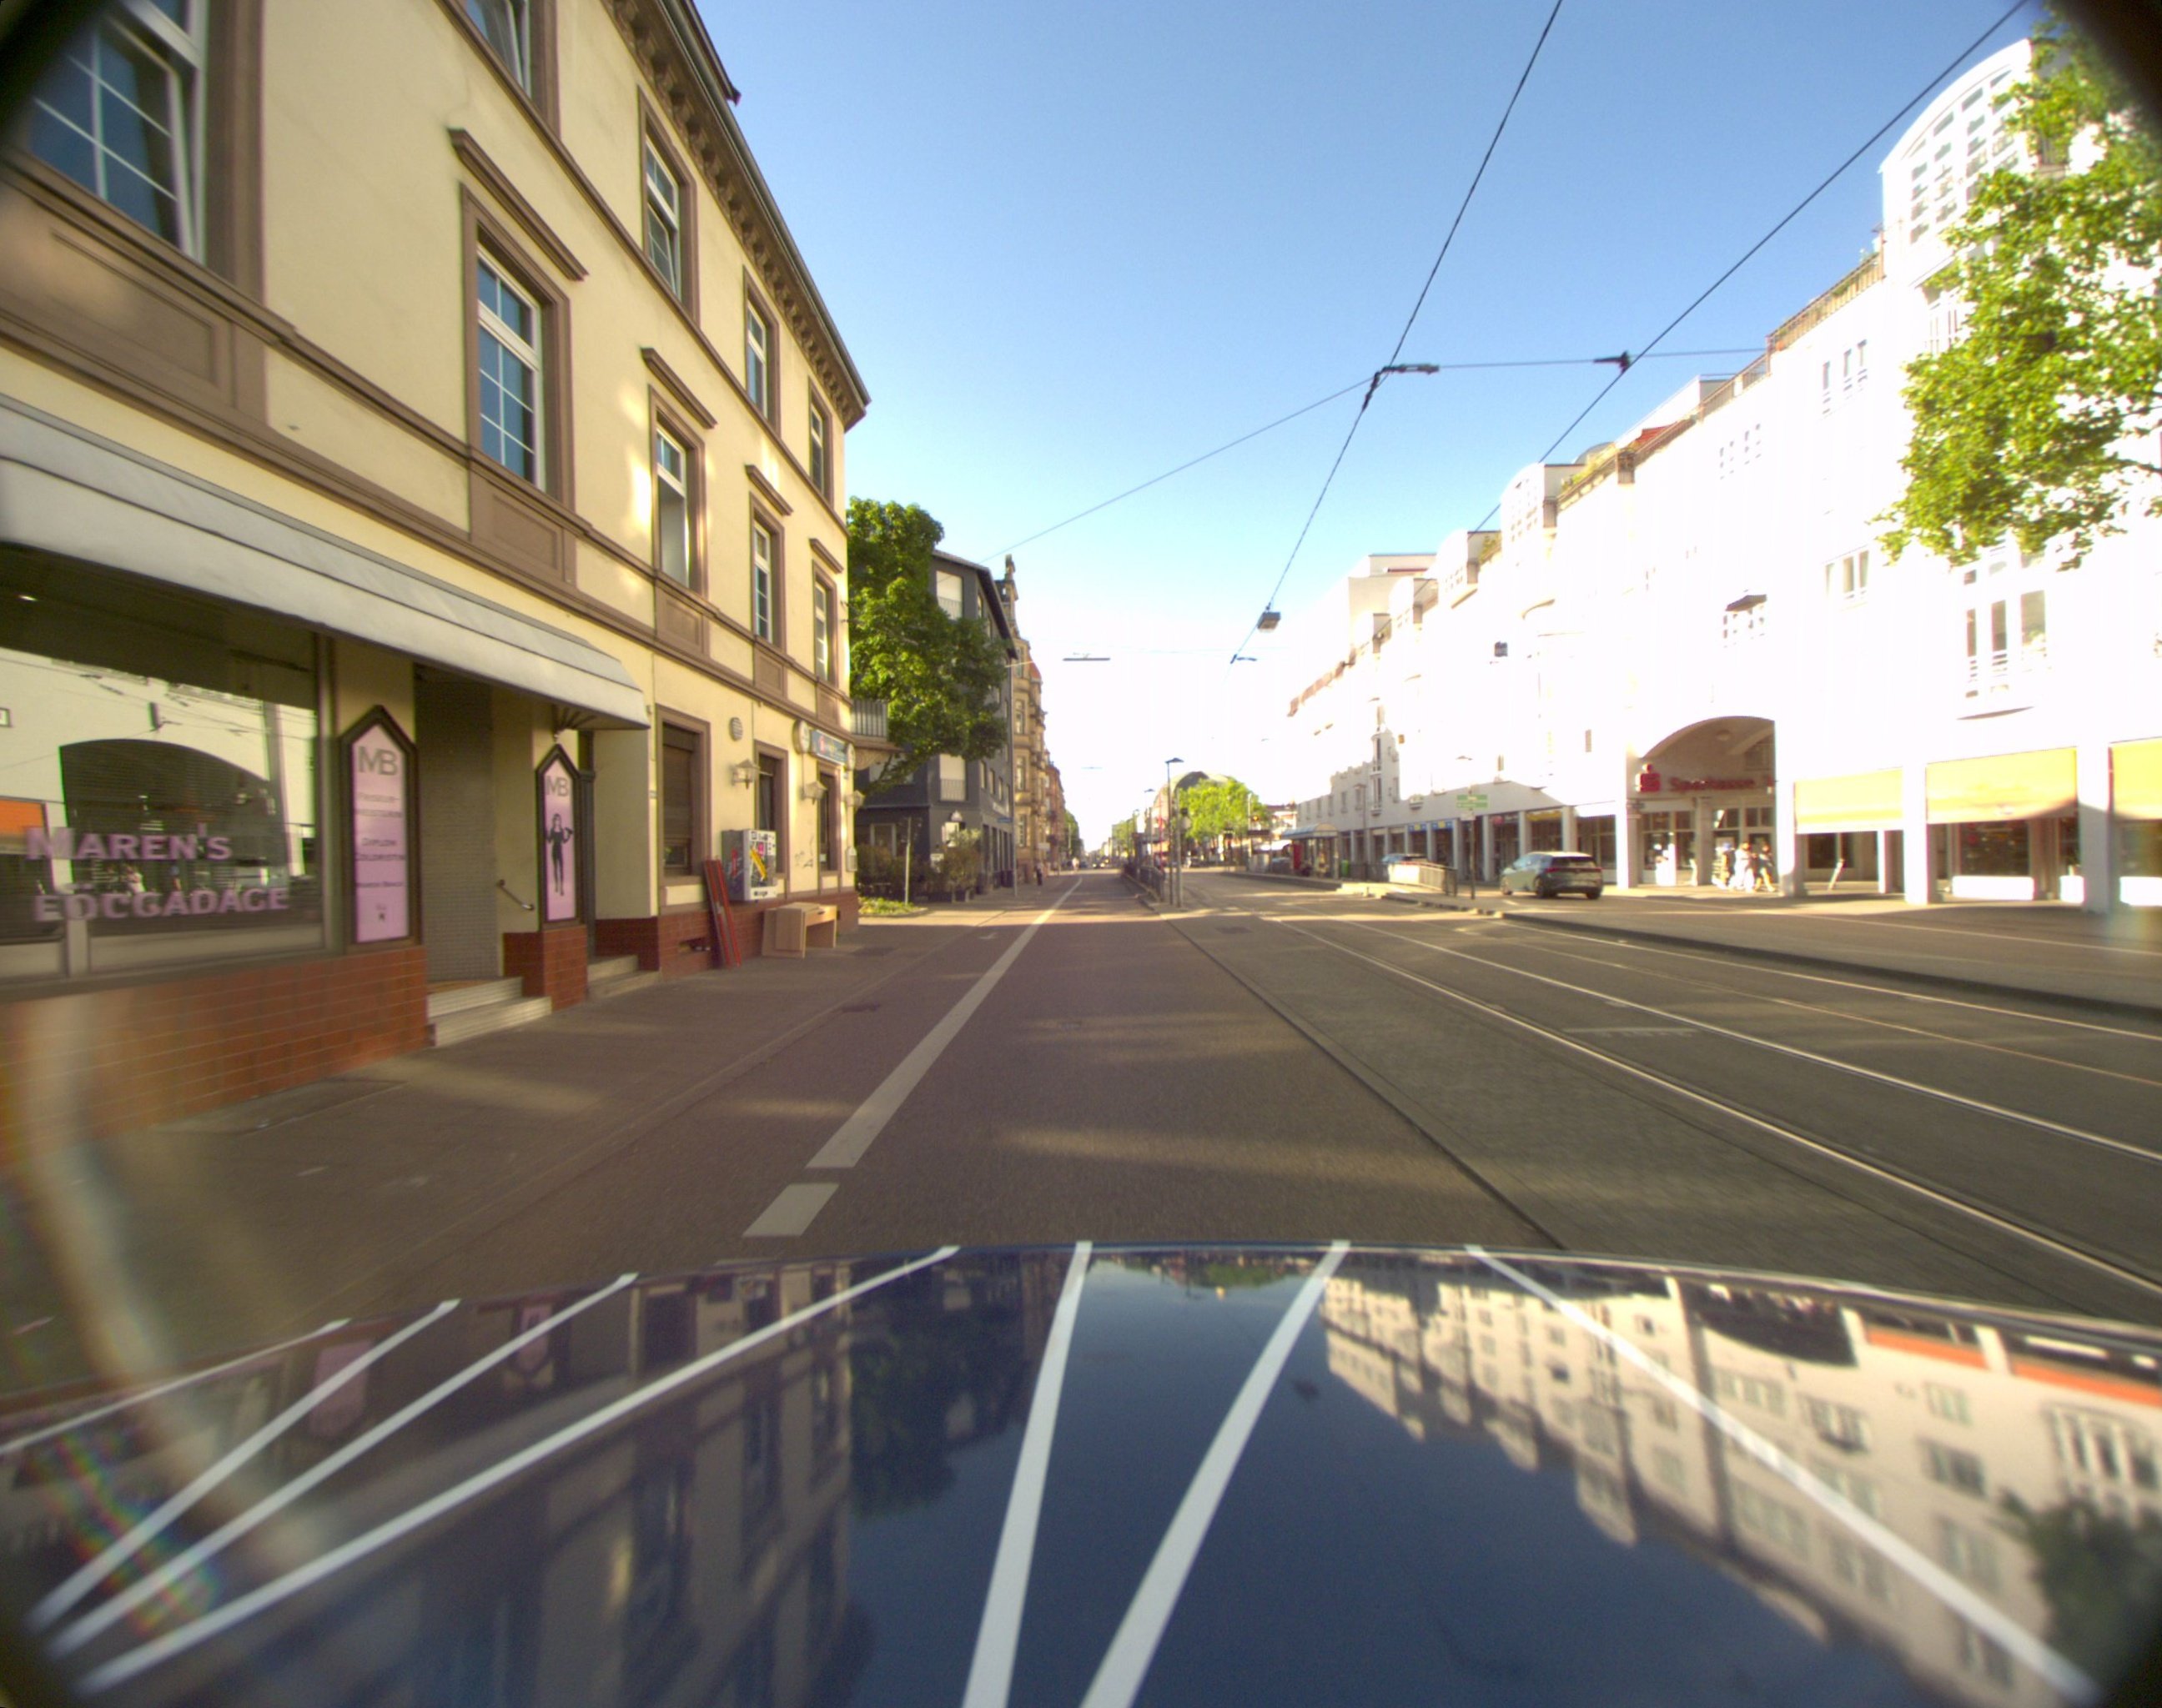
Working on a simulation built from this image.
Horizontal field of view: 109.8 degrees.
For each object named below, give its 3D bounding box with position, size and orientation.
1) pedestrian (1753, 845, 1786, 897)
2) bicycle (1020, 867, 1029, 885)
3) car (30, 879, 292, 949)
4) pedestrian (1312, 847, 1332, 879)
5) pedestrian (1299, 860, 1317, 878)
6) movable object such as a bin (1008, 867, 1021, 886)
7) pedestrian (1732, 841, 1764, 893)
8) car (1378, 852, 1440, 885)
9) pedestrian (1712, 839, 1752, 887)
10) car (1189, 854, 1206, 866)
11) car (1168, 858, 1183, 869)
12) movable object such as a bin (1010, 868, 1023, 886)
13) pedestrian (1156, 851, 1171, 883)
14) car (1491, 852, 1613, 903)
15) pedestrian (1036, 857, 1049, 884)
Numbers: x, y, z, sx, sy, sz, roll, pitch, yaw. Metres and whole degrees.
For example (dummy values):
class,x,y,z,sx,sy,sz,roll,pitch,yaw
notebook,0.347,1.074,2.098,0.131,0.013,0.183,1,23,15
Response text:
class,x,y,z,sx,sy,sz,roll,pitch,yaw
pedestrian,22.047,0.544,24.329,0.563,1.635,0.523,-1,0,1
bicycle,-3.591,1.383,48.298,0.377,1.052,1.513,-2,0,1
car,-26.892,1.658,22.455,1.642,1.662,4.644,-1,0,27
pedestrian,12.760,0.466,40.205,0.794,1.635,0.747,-2,0,1
pedestrian,13.266,0.858,44.368,0.794,0.983,0.747,-2,2,1
movable object such as a bin,-3.866,1.306,44.181,0.717,1.062,0.637,-2,0,0
pedestrian,21.434,0.422,24.412,0.563,1.635,0.523,-1,0,1
car,17.256,0.750,40.203,1.783,1.658,4.774,0,0,7
pedestrian,22.809,0.314,26.619,0.747,1.635,0.731,-1,0,1
car,17.358,0.911,113.444,1.998,1.608,4.001,-2,0,1
car,16.514,1.606,132.601,1.999,1.892,3.999,-1,0,-2
movable object such as a bin,-3.824,1.348,44.994,0.717,1.062,0.637,-2,0,0
pedestrian,4.243,0.682,39.285,0.716,1.635,0.400,-1,1,3
car,15.625,0.717,25.493,1.783,1.531,4.270,1,0,6
pedestrian,-2.483,1.072,49.009,0.695,1.680,0.688,-2,0,1
